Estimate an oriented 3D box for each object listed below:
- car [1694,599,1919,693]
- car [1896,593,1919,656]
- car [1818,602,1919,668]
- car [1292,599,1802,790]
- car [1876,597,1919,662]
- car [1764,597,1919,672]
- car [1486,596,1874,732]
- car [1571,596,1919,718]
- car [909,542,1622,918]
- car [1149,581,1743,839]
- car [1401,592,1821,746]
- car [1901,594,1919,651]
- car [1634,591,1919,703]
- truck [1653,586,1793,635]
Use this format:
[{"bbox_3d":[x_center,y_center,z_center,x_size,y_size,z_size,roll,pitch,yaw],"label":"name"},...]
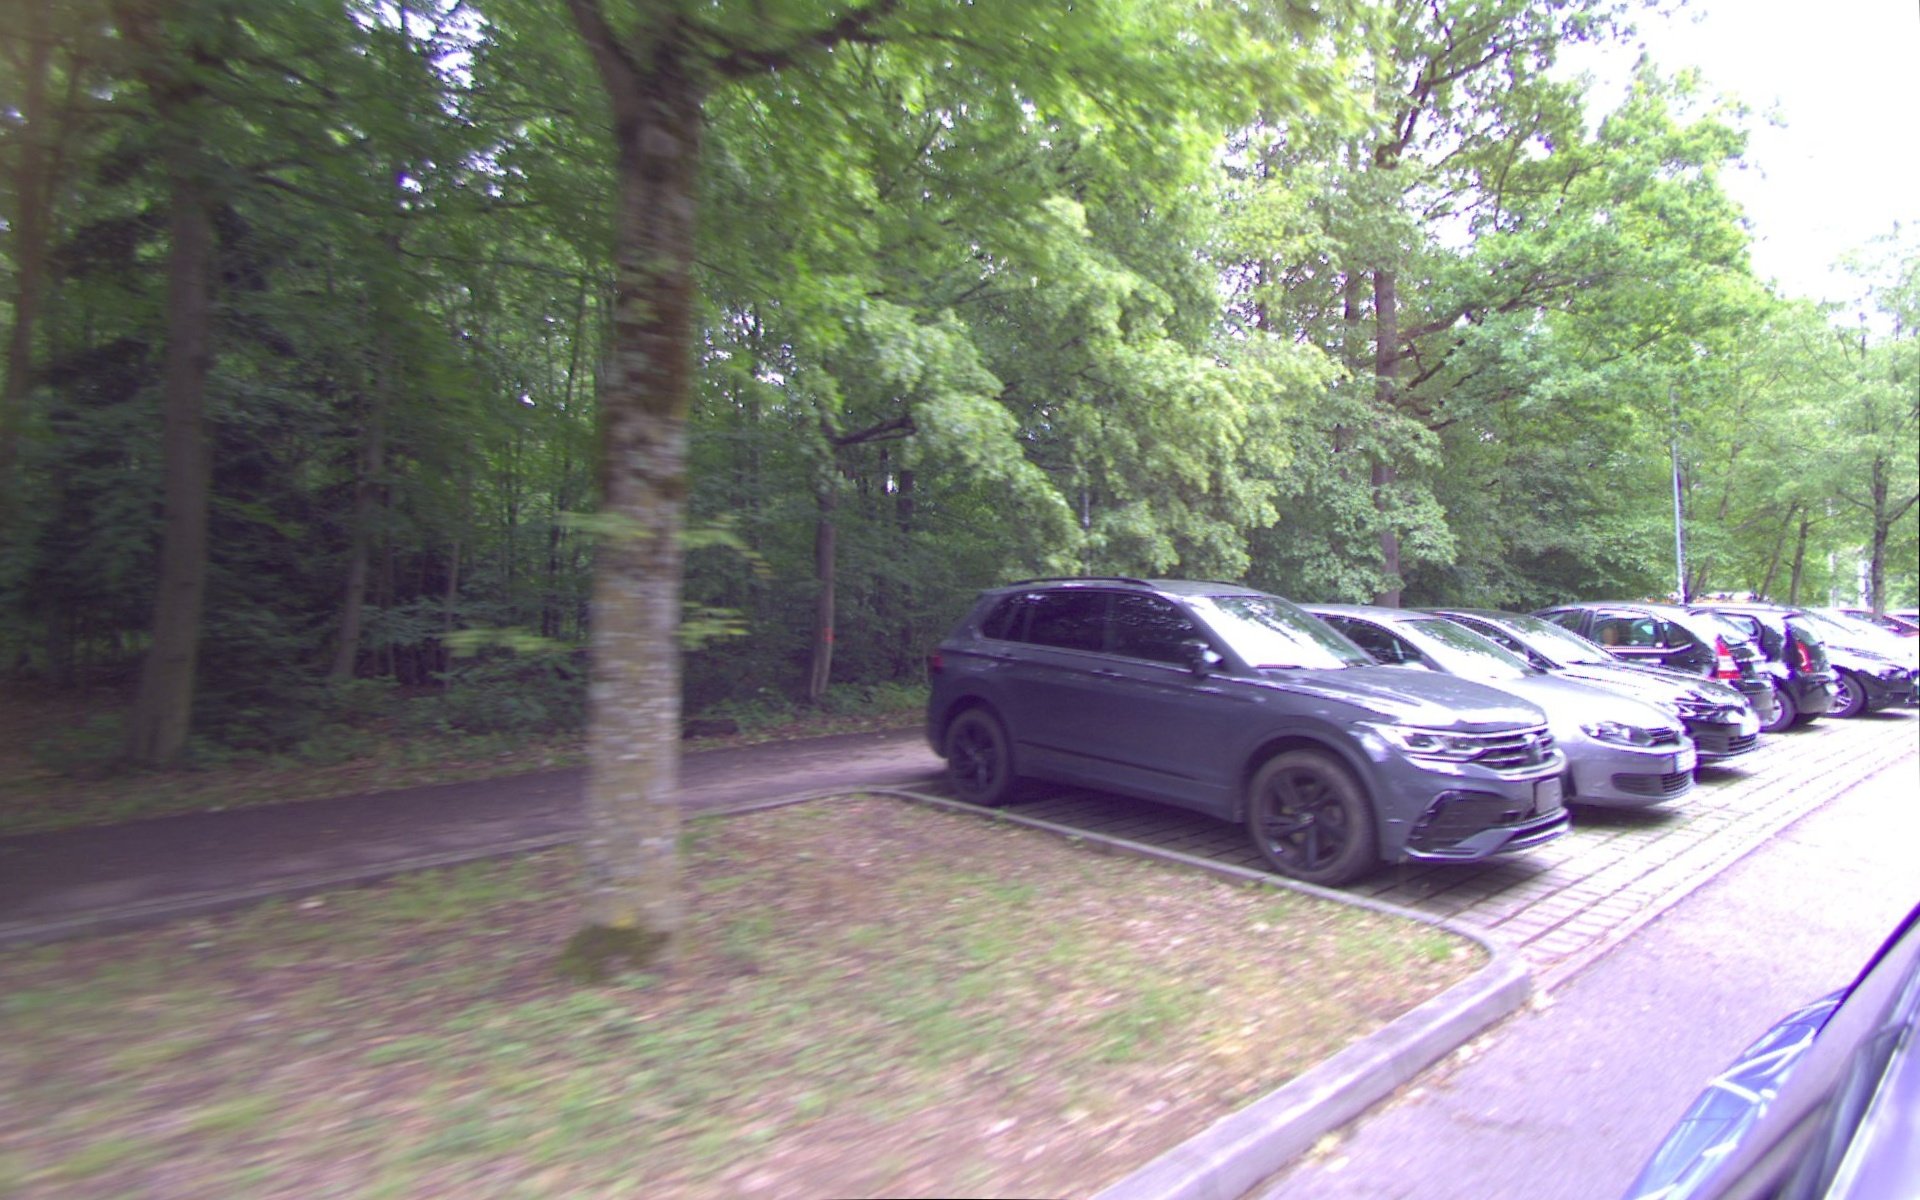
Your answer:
[{"bbox_3d":[15.499,0.755,17.704,1.850,1.503,3.985,1,-1,-39],"label":"car"},{"bbox_3d":[25.995,0.624,25.048,1.911,1.610,3.782,1,-1,-32],"label":"car"},{"bbox_3d":[21.498,0.759,22.054,1.842,1.429,3.945,1,-1,-34],"label":"car"},{"bbox_3d":[5.625,0.752,10.122,1.917,1.494,3.996,0,0,-38],"label":"car"},{"bbox_3d":[23.584,0.695,23.052,1.740,1.500,3.778,1,-1,-36],"label":"car"},{"bbox_3d":[19.025,0.686,20.729,1.839,1.459,3.798,1,-1,-43],"label":"car"},{"bbox_3d":[9.297,0.705,13.338,1.775,1.475,3.837,0,1,-37],"label":"car"},{"bbox_3d":[11.533,0.729,14.697,1.859,1.531,4.196,1,-1,-39],"label":"car"},{"bbox_3d":[1.695,0.593,6.831,1.923,1.687,4.274,0,-1,-39],"label":"car"},{"bbox_3d":[3.765,0.679,8.294,1.943,1.571,3.988,0,-1,-45],"label":"car"},{"bbox_3d":[7.538,0.667,12.019,1.817,1.478,3.836,0,1,-38],"label":"car"},{"bbox_3d":[27.780,0.603,26.824,1.697,1.565,3.856,0,0,-33],"label":"car"},{"bbox_3d":[13.486,0.685,16.238,1.940,1.579,4.021,1,-1,-35],"label":"car"},{"bbox_3d":[58.748,0.784,78.219,2.810,3.560,8.256,2,-1,-29],"label":"truck"}]
